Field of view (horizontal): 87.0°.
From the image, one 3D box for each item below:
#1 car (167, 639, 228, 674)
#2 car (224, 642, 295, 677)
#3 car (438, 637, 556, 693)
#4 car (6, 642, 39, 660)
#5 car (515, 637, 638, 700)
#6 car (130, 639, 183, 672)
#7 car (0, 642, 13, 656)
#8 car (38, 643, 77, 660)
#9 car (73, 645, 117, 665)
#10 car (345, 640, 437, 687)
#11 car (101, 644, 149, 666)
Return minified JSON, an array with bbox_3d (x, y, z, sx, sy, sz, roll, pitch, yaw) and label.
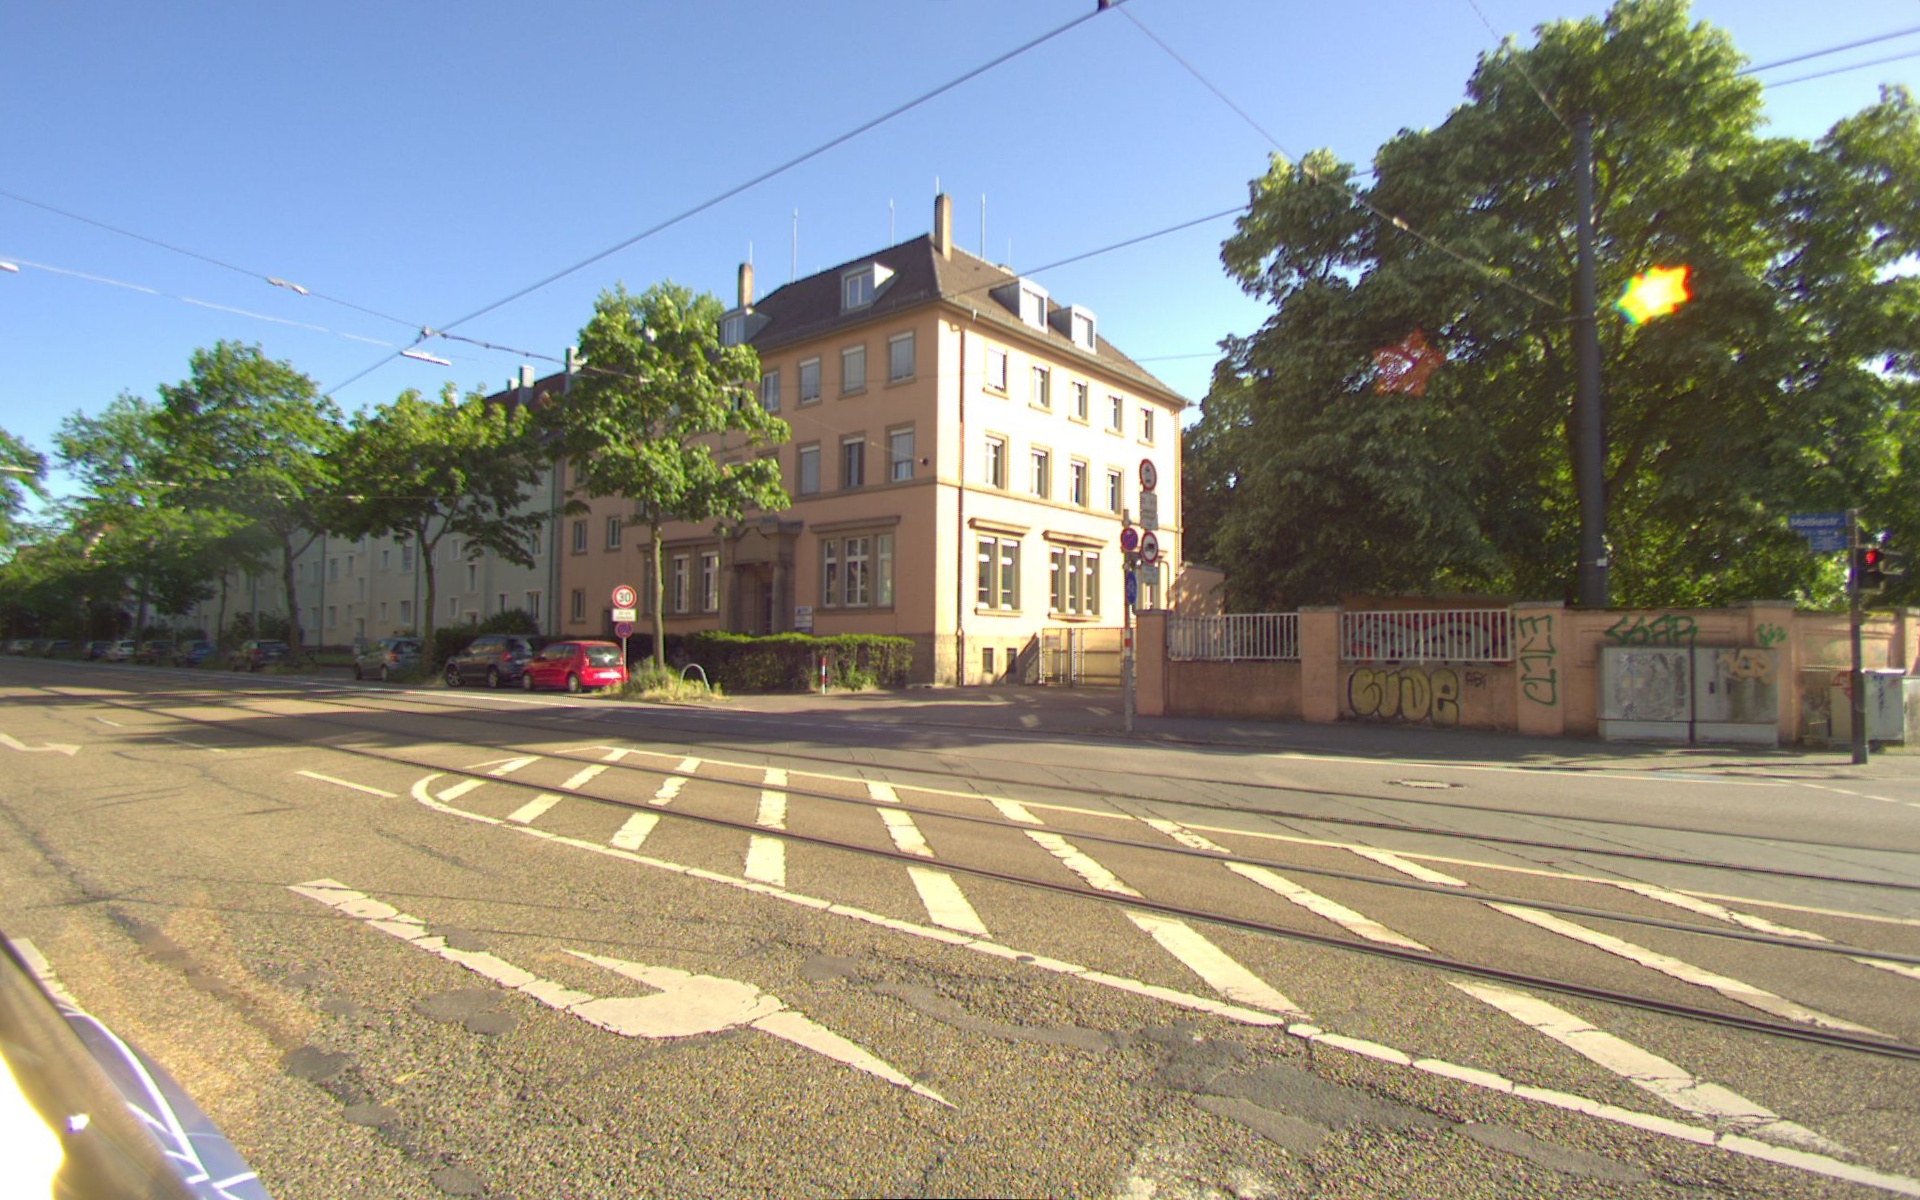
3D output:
[{"bbox_3d":[-42.613,3.148,56.540,3.791,1.839,1.793,-2,-4,39],"label":"car"},{"bbox_3d":[-33.706,2.845,48.672,3.626,1.611,1.793,-2,-4,39],"label":"car"},{"bbox_3d":[-14.796,2.049,32.282,3.813,1.671,1.794,-2,-4,37],"label":"car"},{"bbox_3d":[-93.608,5.077,101.036,3.626,1.792,1.793,-2,-4,39],"label":"car"},{"bbox_3d":[-11.167,1.953,29.444,3.369,1.719,1.794,-2,-4,37],"label":"car"},{"bbox_3d":[-49.543,3.396,62.387,3.626,1.956,1.793,-2,-4,39],"label":"car"},{"bbox_3d":[-102.823,5.213,108.146,3.626,1.535,1.793,-2,-4,39],"label":"car"},{"bbox_3d":[-76.124,4.361,85.344,3.626,1.430,1.793,-2,-4,39],"label":"car"},{"bbox_3d":[-63.448,4.011,74.225,3.626,1.430,1.793,-2,-4,39],"label":"car"},{"bbox_3d":[-21.422,2.370,38.071,3.874,1.671,1.792,-2,-4,41],"label":"car"},{"bbox_3d":[-56.560,3.738,68.564,3.626,1.430,1.793,-2,-4,39],"label":"car"}]
